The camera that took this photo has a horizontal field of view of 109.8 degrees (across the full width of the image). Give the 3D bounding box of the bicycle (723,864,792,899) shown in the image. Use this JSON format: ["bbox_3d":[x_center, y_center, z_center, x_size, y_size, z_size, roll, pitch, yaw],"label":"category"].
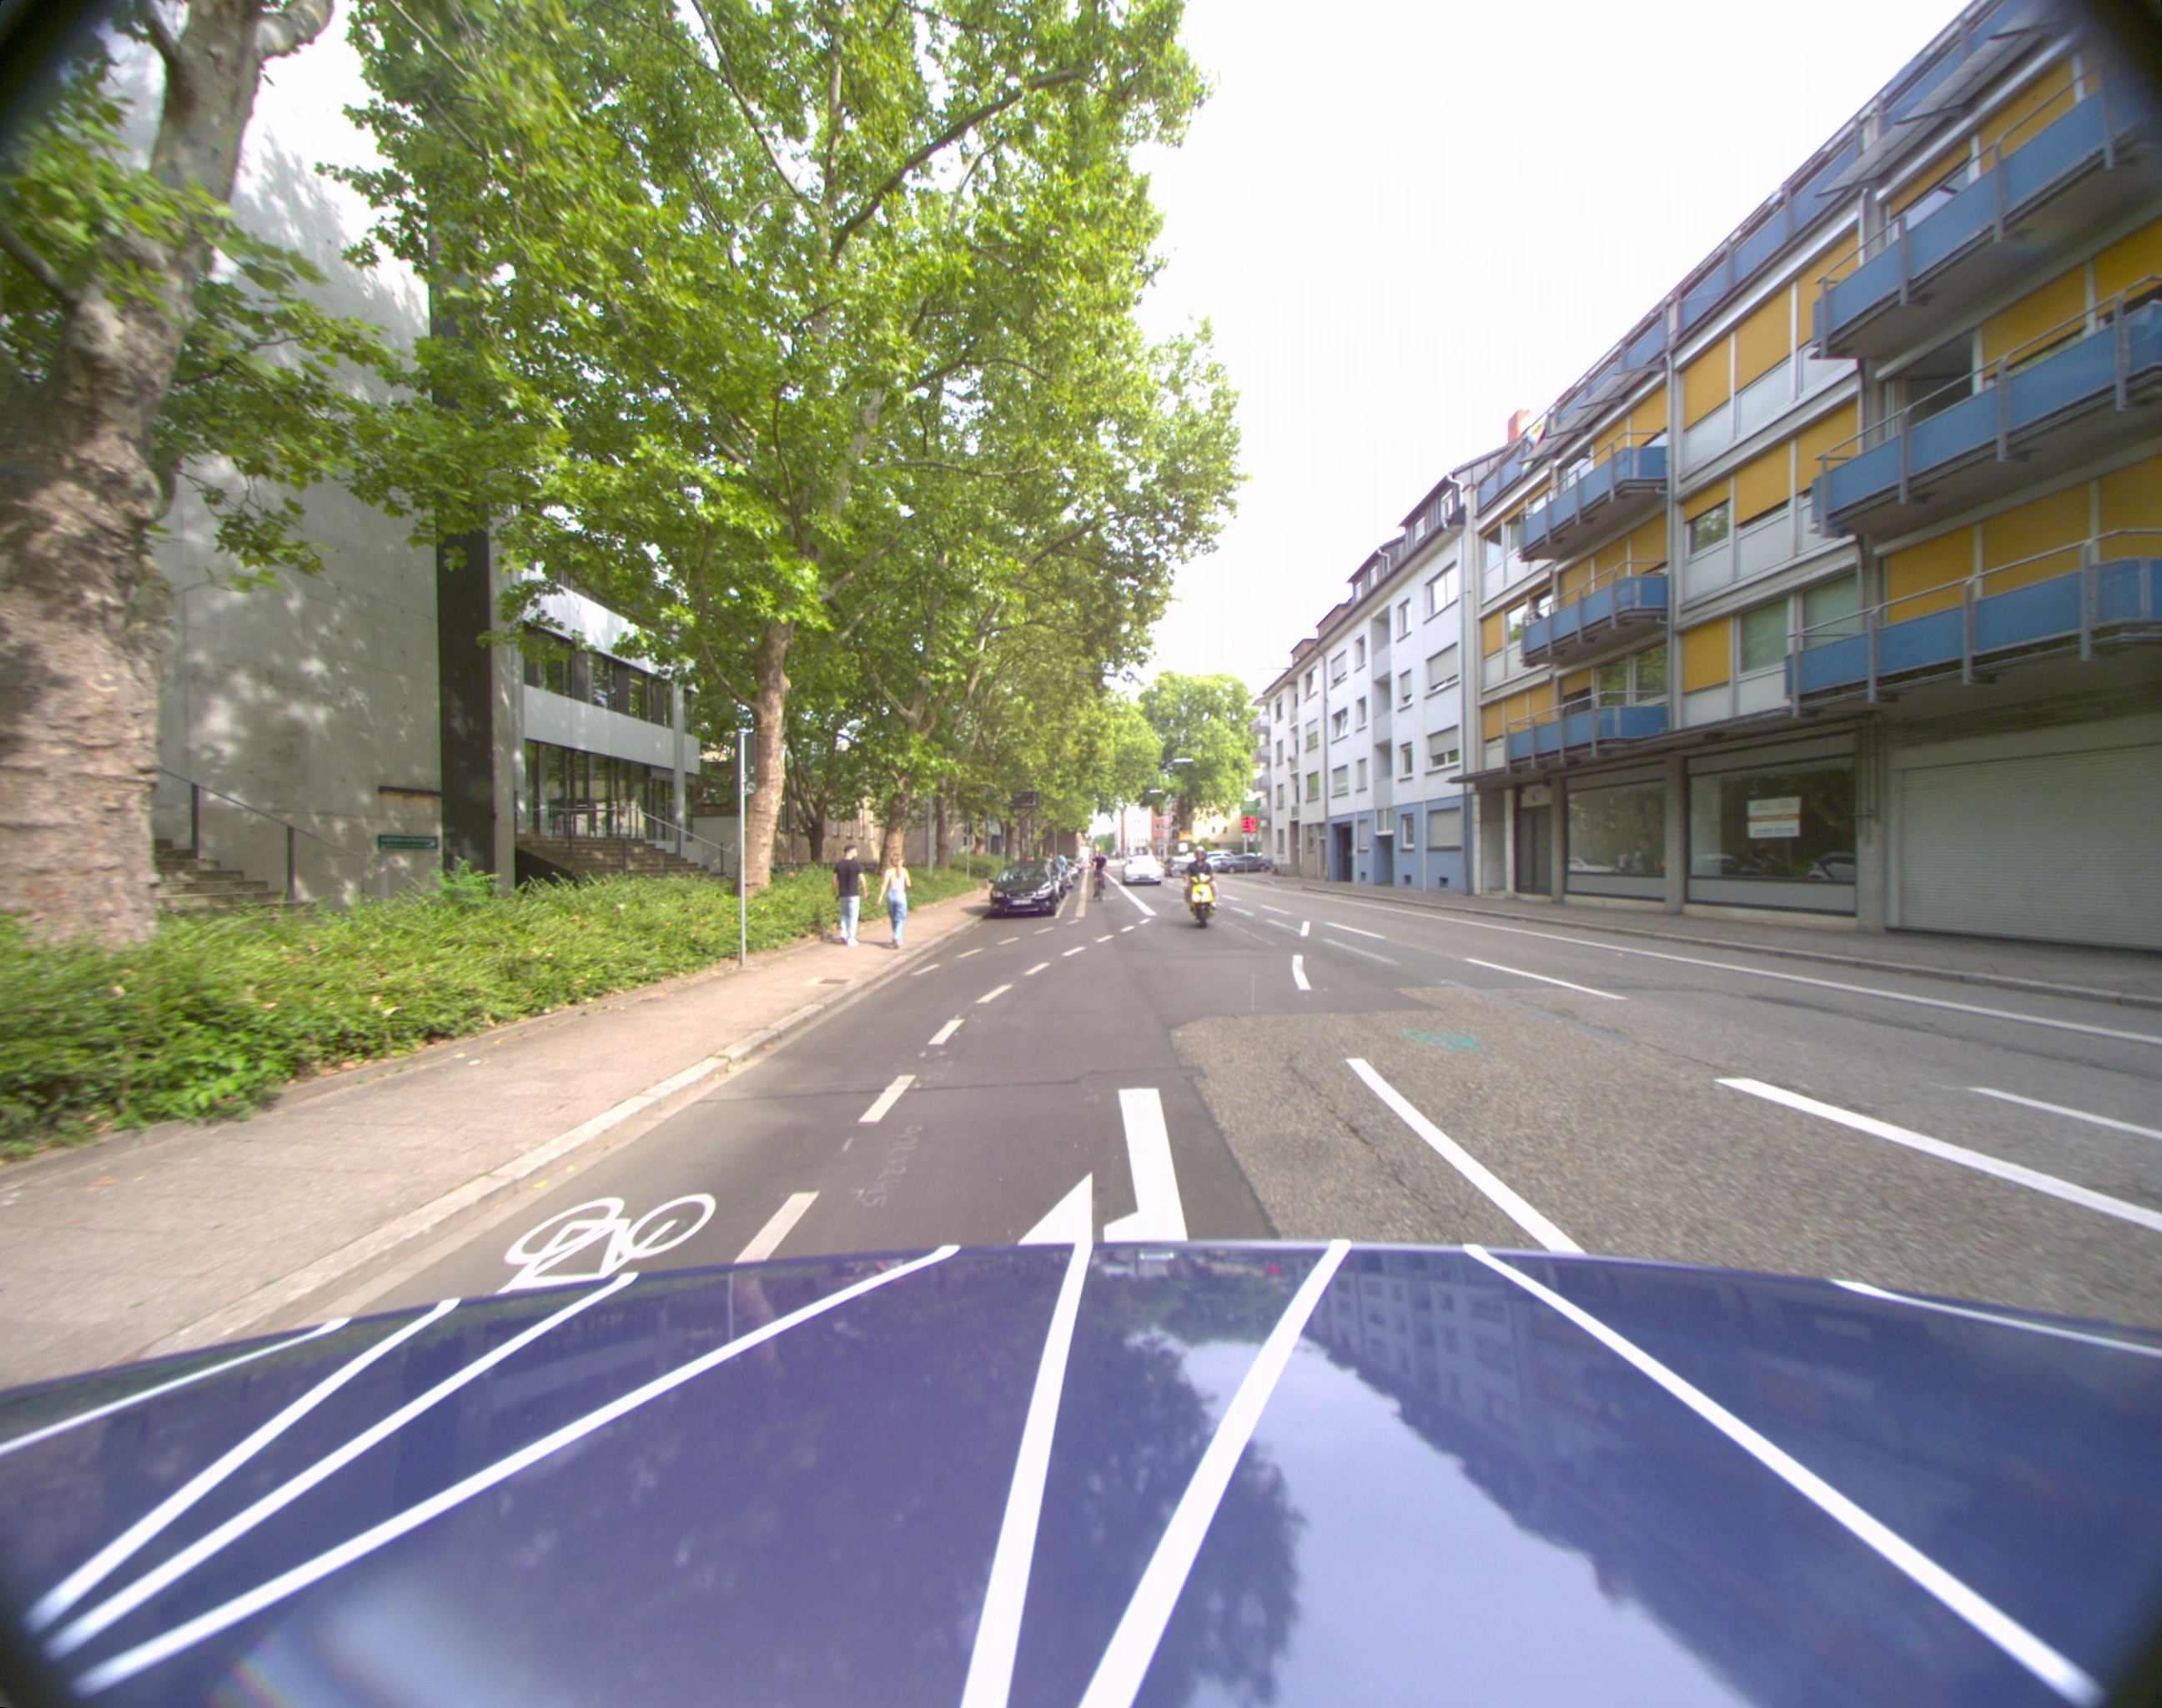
[{"bbox_3d":[-10.423,0.879,24.497,1.919,1.111,0.673,0,0,0],"label":"bicycle"}]

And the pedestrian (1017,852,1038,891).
[{"bbox_3d":[-2.545,0.813,35.990,0.873,1.806,0.780,-2,1,1],"label":"pedestrian"}]

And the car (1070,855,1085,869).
[{"bbox_3d":[-0.366,0.933,90.723,1.602,1.496,4.440,-3,0,1],"label":"car"}]

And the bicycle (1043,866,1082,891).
[{"bbox_3d":[-0.860,1.161,35.881,1.740,1.099,0.552,-2,1,-10],"label":"bicycle"}]

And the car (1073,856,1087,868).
[{"bbox_3d":[-0.129,1.011,96.041,1.602,1.438,4.105,-3,0,1],"label":"car"}]

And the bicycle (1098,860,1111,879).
[{"bbox_3d":[1.501,0.982,49.308,0.763,1.162,1.950,-2,0,1],"label":"bicycle"}]

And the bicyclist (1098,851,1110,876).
[{"bbox_3d":[1.501,0.585,49.311,0.749,1.590,0.819,-2,0,1],"label":"bicyclist"}]

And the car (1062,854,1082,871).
[{"bbox_3d":[-0.891,0.827,75.625,1.926,1.612,4.480,-3,0,-1],"label":"car"}]

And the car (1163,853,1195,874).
[{"bbox_3d":[6.957,0.685,54.277,1.762,1.419,4.098,1,0,0],"label":"car"}]

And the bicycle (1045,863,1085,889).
[{"bbox_3d":[-0.780,1.054,37.089,1.796,1.210,0.552,-2,1,-17],"label":"bicycle"}]

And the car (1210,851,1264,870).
[{"bbox_3d":[13.683,0.587,66.666,4.311,1.442,1.910,-3,0,1],"label":"car"}]

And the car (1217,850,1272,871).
[{"bbox_3d":[13.807,0.556,64.331,4.161,1.504,1.837,-3,0,1],"label":"car"}]

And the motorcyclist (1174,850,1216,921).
[{"bbox_3d":[2.613,0.717,17.535,0.904,1.608,0.691,-1,1,5],"label":"motorcyclist"}]

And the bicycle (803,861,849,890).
[{"bbox_3d":[-10.128,0.836,30.222,1.701,1.111,0.622,0,1,-18],"label":"bicycle"}]

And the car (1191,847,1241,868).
[{"bbox_3d":[13.916,0.344,78.421,4.778,1.923,1.994,-3,0,2],"label":"car"}]

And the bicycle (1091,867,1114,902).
[{"bbox_3d":[0.762,1.096,27.476,0.763,1.162,1.950,-2,0,1],"label":"bicycle"}]

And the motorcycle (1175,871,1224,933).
[{"bbox_3d":[2.580,1.017,16.826,0.904,1.190,2.631,-1,0,5],"label":"motorcycle"}]

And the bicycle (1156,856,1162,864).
[{"bbox_3d":[10.325,0.730,100.717,0.647,1.008,2.076,-2,1,0],"label":"bicycle"}]

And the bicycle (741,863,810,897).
[{"bbox_3d":[-10.381,0.866,25.833,2.084,1.111,0.673,0,0,0],"label":"bicycle"}]

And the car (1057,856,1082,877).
[{"bbox_3d":[-0.907,0.920,57.159,1.647,1.438,3.881,-3,0,-4],"label":"car"}]

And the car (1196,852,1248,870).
[{"bbox_3d":[12.760,0.628,68.918,4.281,1.442,1.874,-3,0,1],"label":"car"}]

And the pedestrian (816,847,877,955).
[{"bbox_3d":[-4.045,0.776,13.171,0.717,1.789,1.033,1,1,-1],"label":"pedestrian"}]

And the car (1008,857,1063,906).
[{"bbox_3d":[-1.529,0.925,26.405,1.539,1.534,2.599,-2,0,3],"label":"car"}]

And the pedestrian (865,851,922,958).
[{"bbox_3d":[-3.228,0.836,13.134,0.712,1.773,1.033,1,1,-1],"label":"pedestrian"}]

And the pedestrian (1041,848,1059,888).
[{"bbox_3d":[-1.551,0.699,37.962,0.795,1.986,0.750,-2,1,1],"label":"pedestrian"}]

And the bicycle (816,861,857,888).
[{"bbox_3d":[-10.246,0.841,31.855,1.544,1.111,0.468,0,1,-7],"label":"bicycle"}]

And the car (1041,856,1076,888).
[{"bbox_3d":[-1.205,0.930,40.657,1.685,1.507,4.543,-3,0,-2],"label":"car"}]

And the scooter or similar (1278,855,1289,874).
[{"bbox_3d":[12.794,0.665,48.002,0.350,1.214,1.202,-2,0,1],"label":"scooter or similar"}]

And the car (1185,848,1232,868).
[{"bbox_3d":[13.551,0.403,80.774,4.627,1.848,1.950,-3,0,2],"label":"car"}]

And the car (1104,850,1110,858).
[{"bbox_3d":[8.206,0.052,240.096,1.998,2.546,4.799,-1,0,1],"label":"car"}]

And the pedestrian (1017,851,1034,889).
[{"bbox_3d":[-2.747,0.790,37.876,0.723,1.844,0.703,-2,1,1],"label":"pedestrian"}]

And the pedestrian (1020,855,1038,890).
[{"bbox_3d":[-2.513,0.885,36.768,0.723,1.648,0.655,-2,1,1],"label":"pedestrian"}]

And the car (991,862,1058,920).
[{"bbox_3d":[-1.556,0.998,22.233,1.702,1.417,4.421,-2,0,-2],"label":"car"}]

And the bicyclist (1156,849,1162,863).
[{"bbox_3d":[10.314,0.211,100.671,0.653,1.800,1.045,-2,1,0],"label":"bicyclist"}]

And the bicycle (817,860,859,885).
[{"bbox_3d":[-10.843,0.839,33.967,1.679,1.111,0.604,0,1,-6],"label":"bicycle"}]

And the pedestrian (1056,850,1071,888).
[{"bbox_3d":[-0.870,0.740,37.421,0.522,1.834,0.744,-2,1,-14],"label":"pedestrian"}]

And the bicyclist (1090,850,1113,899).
[{"bbox_3d":[0.741,0.729,27.450,0.764,1.698,0.917,-2,1,1],"label":"bicyclist"}]

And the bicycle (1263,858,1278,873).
[{"bbox_3d":[12.645,0.780,50.710,0.598,0.945,1.663,-2,0,1],"label":"bicycle"}]

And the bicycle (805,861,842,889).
[{"bbox_3d":[-10.413,0.843,30.804,1.383,1.111,0.510,0,1,-14],"label":"bicycle"}]

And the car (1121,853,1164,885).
[{"bbox_3d":[3.308,0.775,41.410,2.000,1.556,4.551,-1,0,1],"label":"car"}]

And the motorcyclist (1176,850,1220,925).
[{"bbox_3d":[2.582,0.724,16.826,0.904,1.608,0.691,-1,1,5],"label":"motorcyclist"}]

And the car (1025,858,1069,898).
[{"bbox_3d":[-1.353,0.936,31.333,1.532,1.493,3.660,-2,0,1],"label":"car"}]

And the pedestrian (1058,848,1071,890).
[{"bbox_3d":[-0.793,0.705,36.146,0.476,1.923,0.744,-2,1,-10],"label":"pedestrian"}]

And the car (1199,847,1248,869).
[{"bbox_3d":[13.430,0.391,71.654,4.221,1.837,1.924,-3,0,1],"label":"car"}]

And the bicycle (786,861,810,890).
[{"bbox_3d":[-11.297,0.857,30.354,0.492,1.111,1.437,0,0,-5],"label":"bicycle"}]

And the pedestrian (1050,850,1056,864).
[{"bbox_3d":[-3.773,0.362,102.238,0.644,1.823,0.645,3,1,0],"label":"pedestrian"}]
